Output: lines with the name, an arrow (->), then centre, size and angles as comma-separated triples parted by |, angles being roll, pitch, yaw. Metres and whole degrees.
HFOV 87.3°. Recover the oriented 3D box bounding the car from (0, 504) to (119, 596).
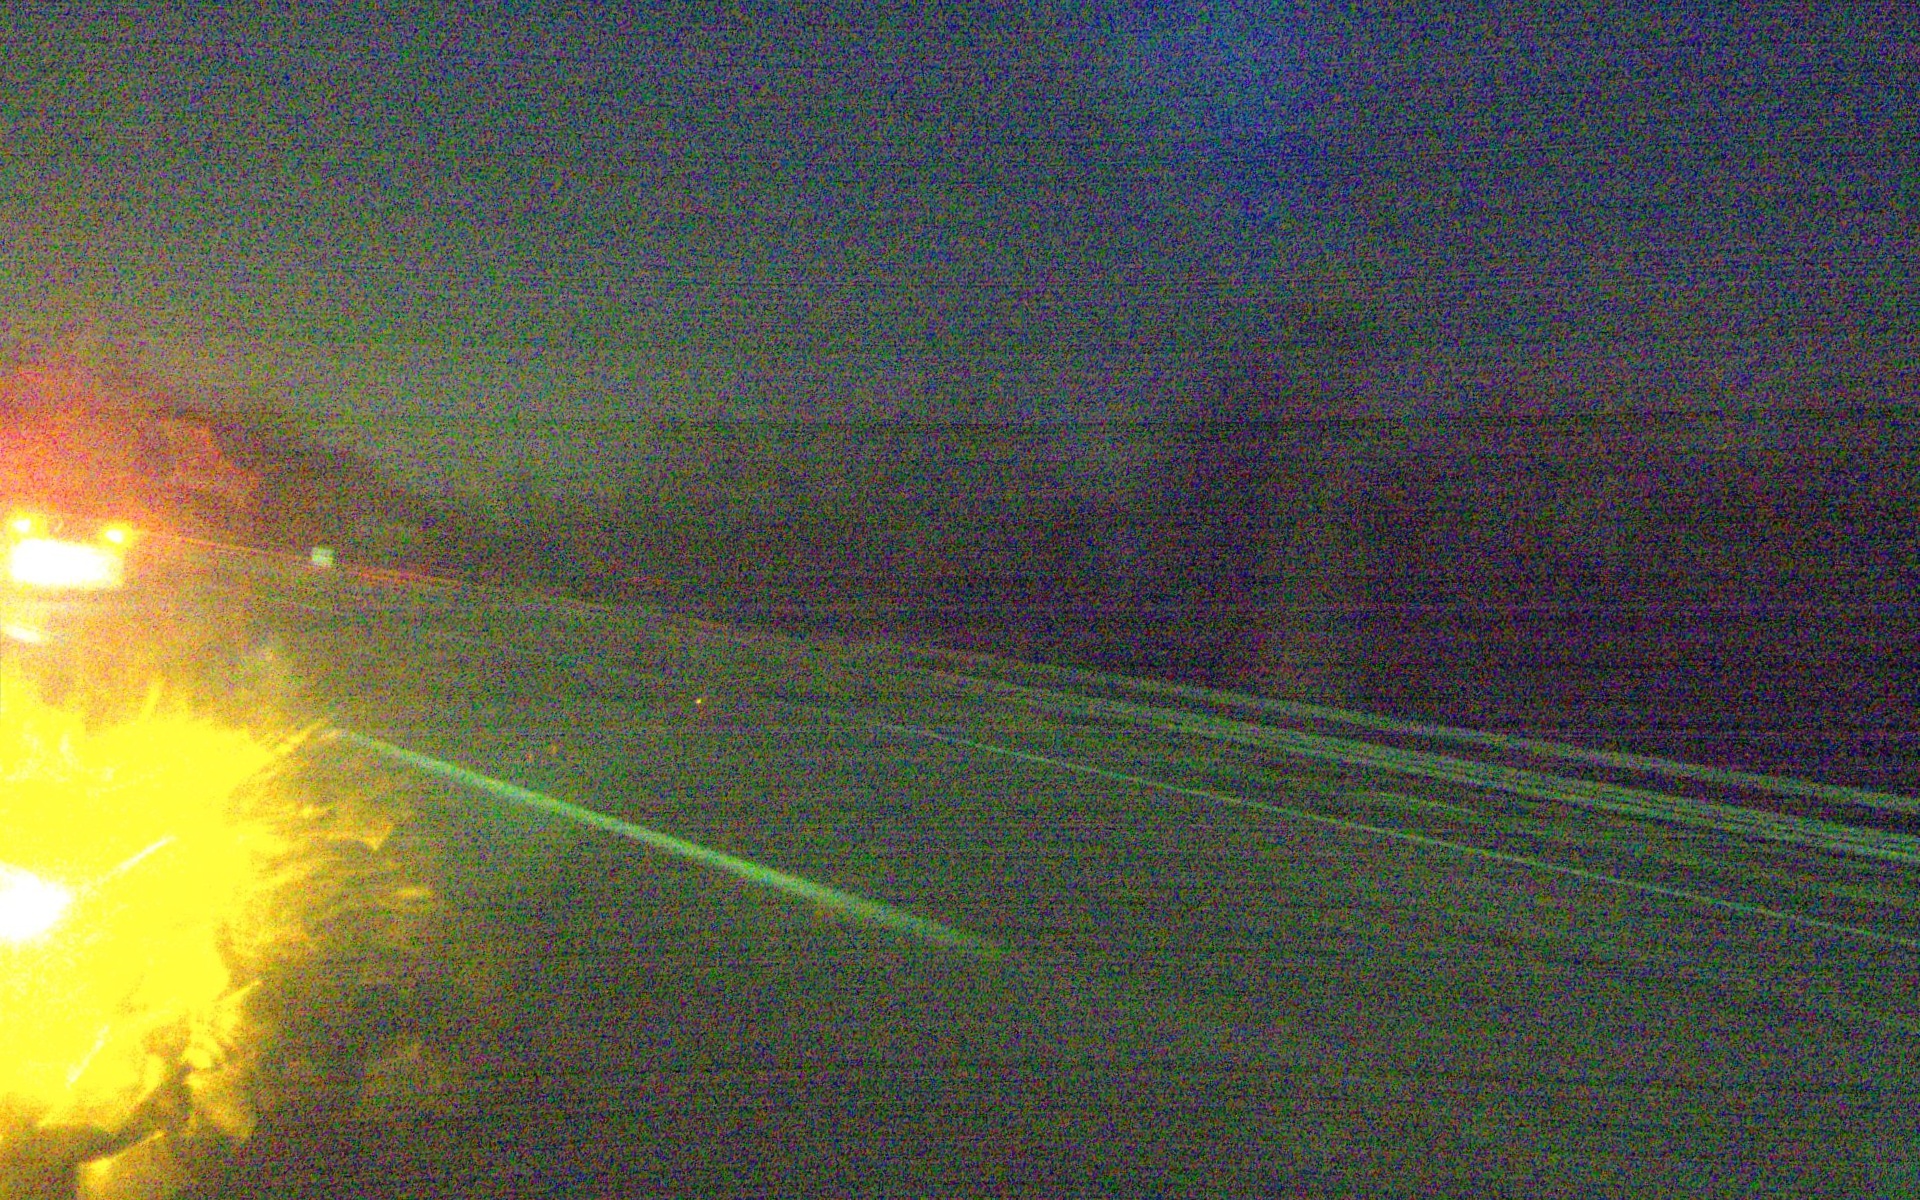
car -> -15.914, -0.932, 16.906 | 3.015, 1.260, 1.585 | 7, -1, 27
